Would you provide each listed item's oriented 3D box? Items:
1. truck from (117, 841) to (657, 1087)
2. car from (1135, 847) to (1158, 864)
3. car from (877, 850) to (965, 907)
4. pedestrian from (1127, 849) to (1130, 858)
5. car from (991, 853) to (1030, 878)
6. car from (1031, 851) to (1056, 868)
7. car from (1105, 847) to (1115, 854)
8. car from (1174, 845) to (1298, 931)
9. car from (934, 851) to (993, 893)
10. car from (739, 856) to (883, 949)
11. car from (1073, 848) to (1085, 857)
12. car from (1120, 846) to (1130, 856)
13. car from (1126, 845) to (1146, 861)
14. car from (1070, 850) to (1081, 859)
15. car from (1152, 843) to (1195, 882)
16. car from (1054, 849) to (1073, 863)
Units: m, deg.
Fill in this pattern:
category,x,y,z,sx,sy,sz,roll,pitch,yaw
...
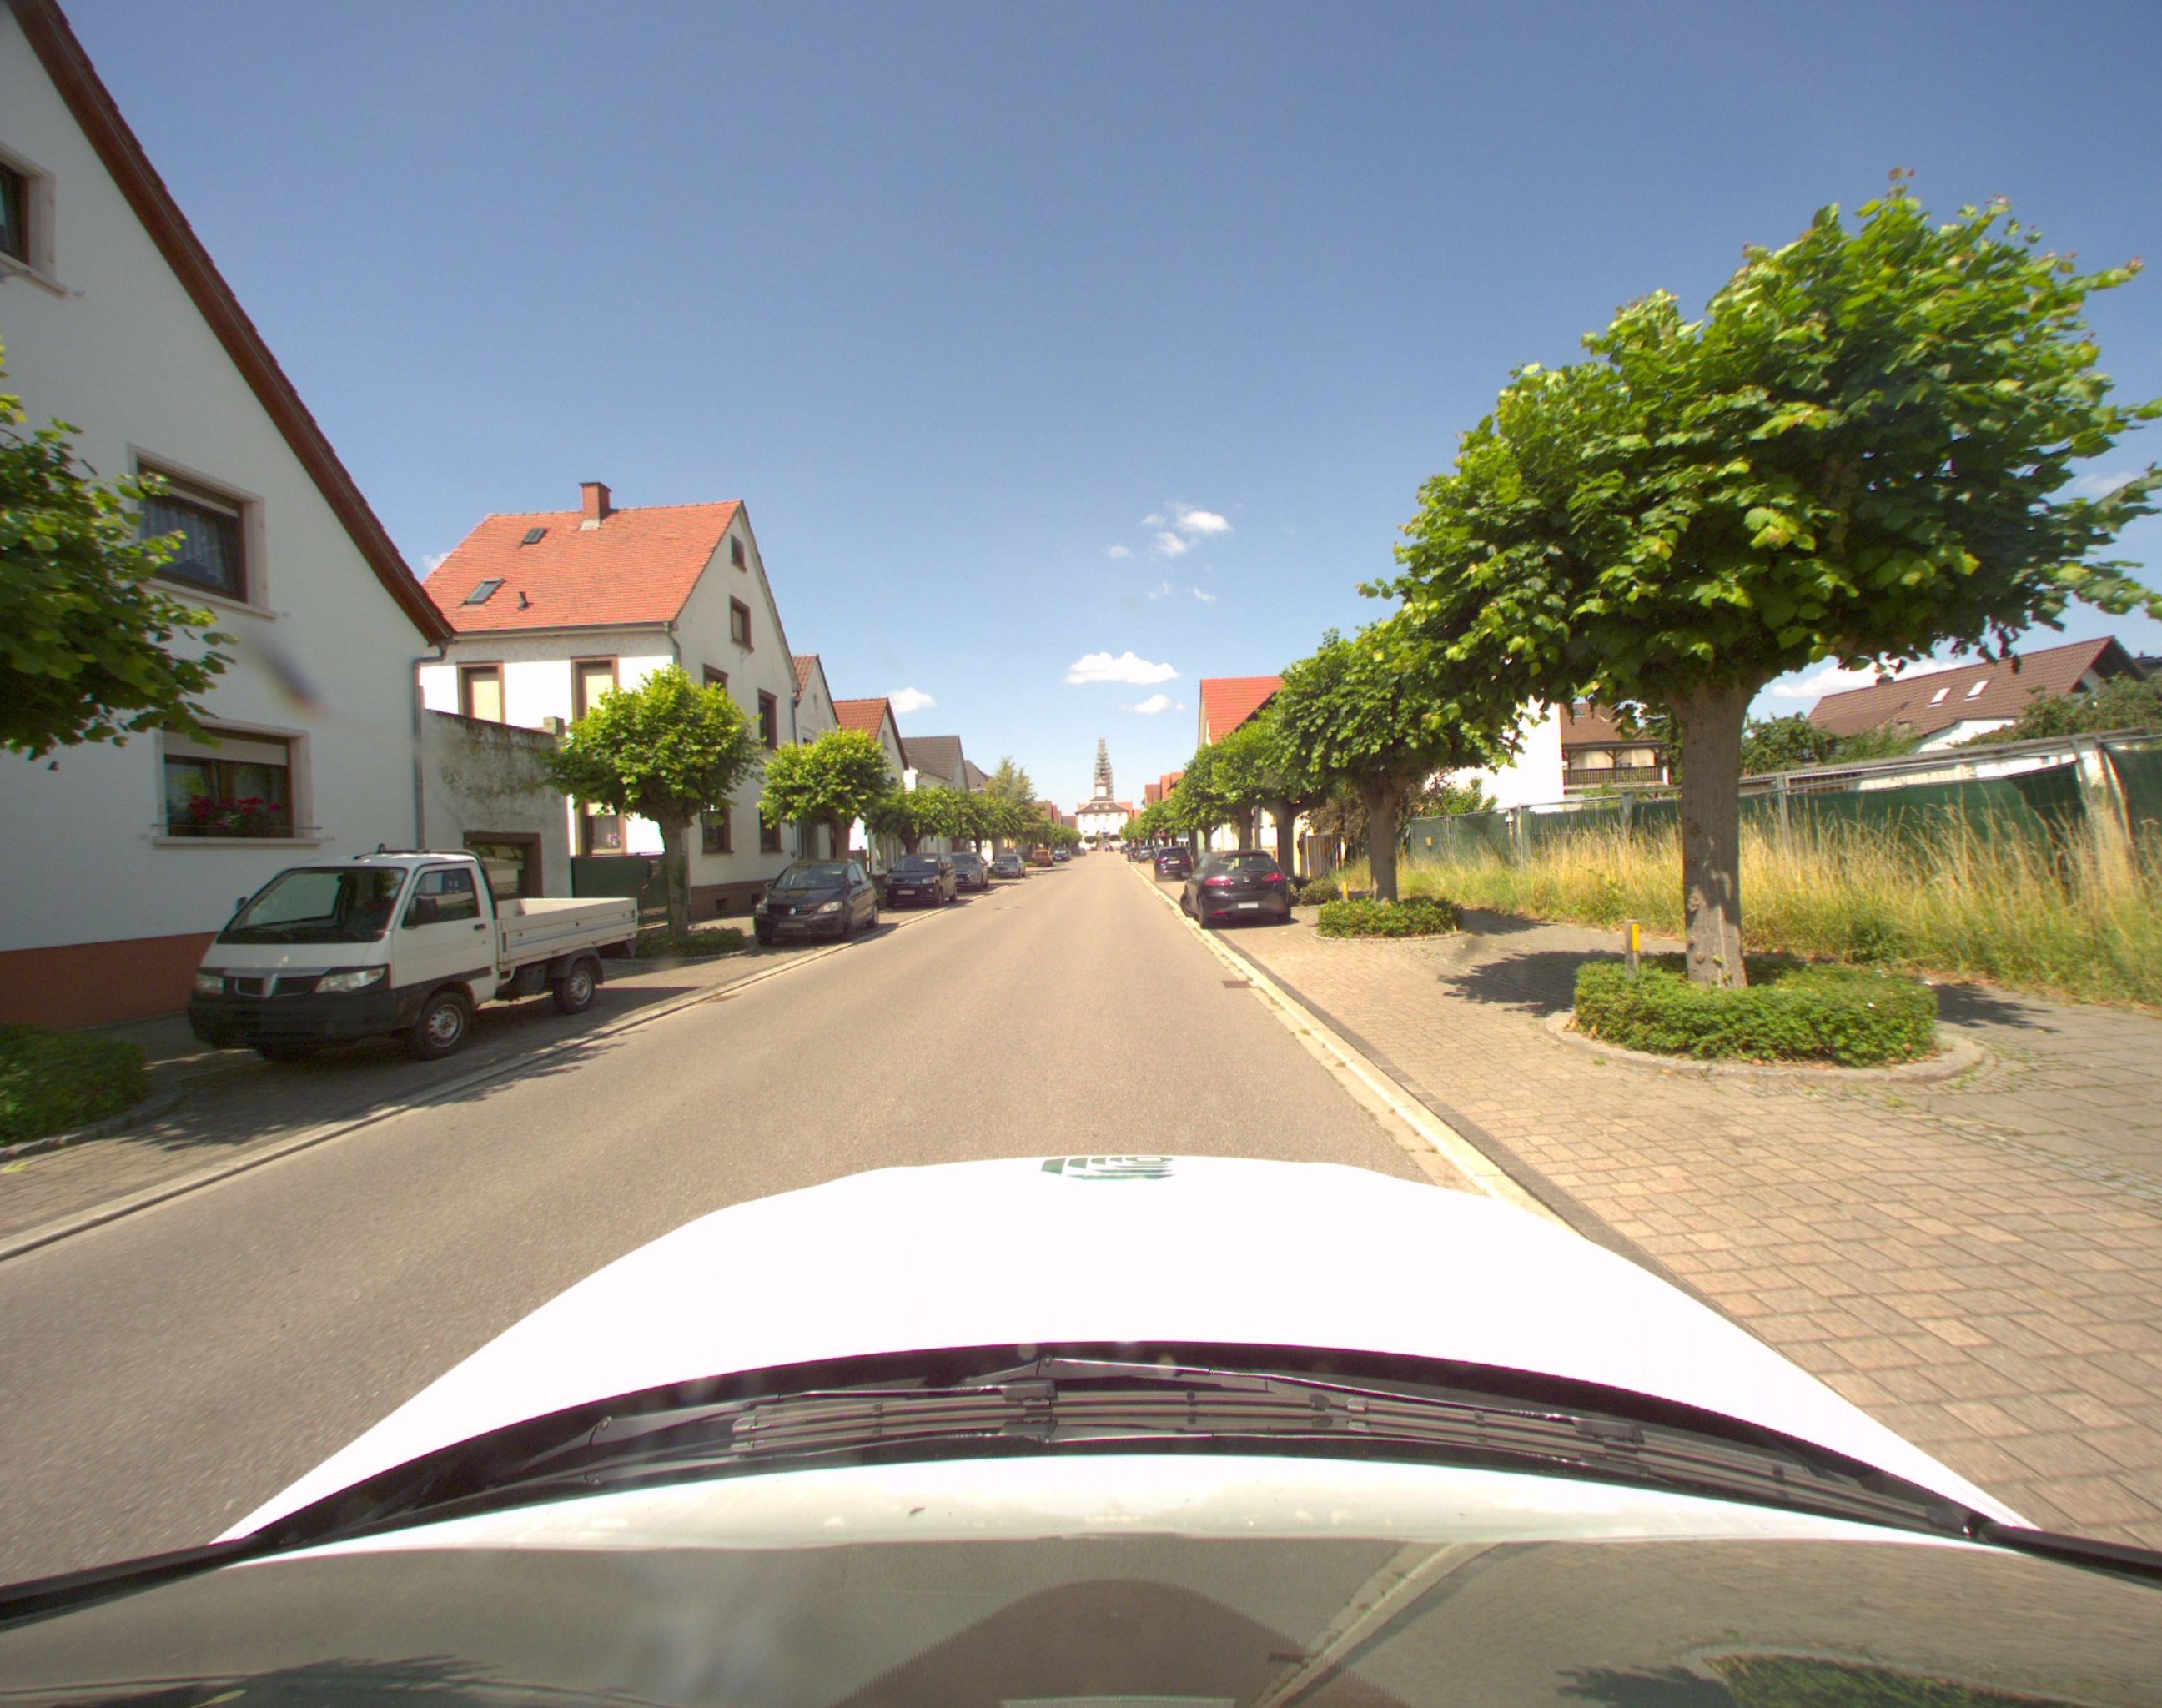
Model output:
category,x,y,z,sx,sy,sz,roll,pitch,yaw
truck,-6.089,0.792,7.955,1.570,1.765,4.194,0,0,2
car,6.280,0.123,78.343,1.831,1.607,4.000,-2,0,1
car,-4.968,0.714,25.787,1.846,1.635,4.058,-1,0,2
pedestrian,7.866,-0.094,135.796,0.354,1.403,0.322,-2,0,39
car,-4.197,0.670,49.099,1.834,1.396,4.408,-1,0,1
car,-3.576,0.525,78.861,1.985,1.611,4.692,-1,0,3
car,6.402,-0.809,177.751,1.718,1.547,3.466,-1,0,11
car,3.045,0.602,16.820,1.817,1.432,4.059,-4,0,2
car,-4.949,0.697,34.843,1.988,1.652,4.365,-1,0,-2
car,-5.314,0.868,16.588,1.782,1.634,3.995,-1,0,-4
car,-0.280,-0.183,149.230,1.985,1.611,3.858,-1,0,3
car,8.059,-0.541,149.124,1.830,1.555,4.316,-4,0,2
car,5.770,-0.153,86.126,1.830,1.555,4.315,-4,0,2
car,-0.984,0.113,143.501,1.750,1.555,4.023,-2,0,2
car,4.284,0.358,37.984,1.815,1.586,4.064,-4,0,6
car,-2.102,0.282,100.558,1.985,1.611,4.693,-1,1,3
